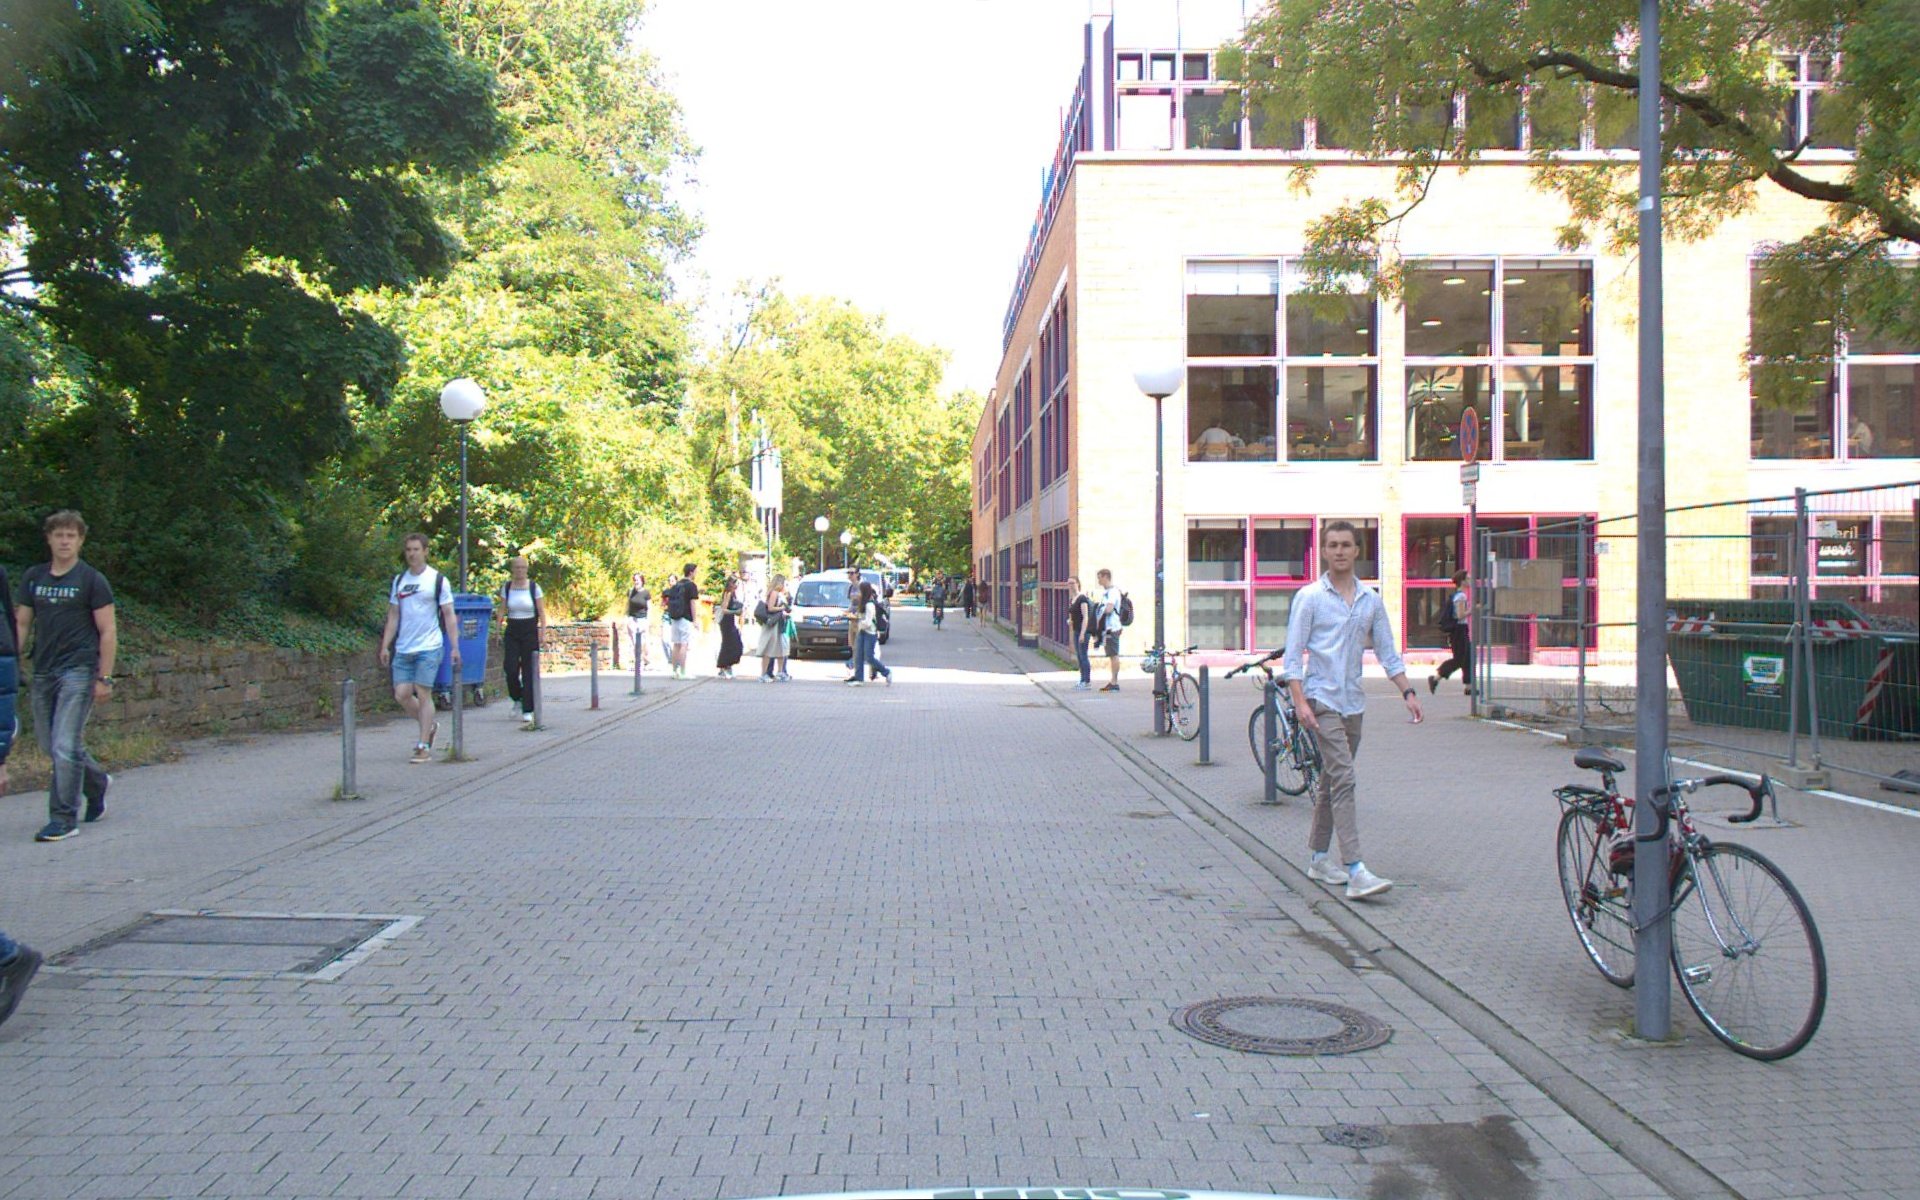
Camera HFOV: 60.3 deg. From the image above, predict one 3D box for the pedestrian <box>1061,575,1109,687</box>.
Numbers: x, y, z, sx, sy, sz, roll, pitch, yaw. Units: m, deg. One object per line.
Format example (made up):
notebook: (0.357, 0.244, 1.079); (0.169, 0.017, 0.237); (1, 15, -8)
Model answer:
pedestrian: (1.938, 0.482, 25.616); (0.682, 1.702, 0.588); (-1, -1, 6)

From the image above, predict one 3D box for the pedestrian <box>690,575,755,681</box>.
pedestrian: (-3.905, 0.454, 27.197); (0.867, 1.701, 0.644); (-2, 1, 6)

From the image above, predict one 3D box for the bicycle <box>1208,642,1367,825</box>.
bicycle: (2.221, 0.871, 11.426); (0.694, 1.112, 1.748); (0, 0, -2)

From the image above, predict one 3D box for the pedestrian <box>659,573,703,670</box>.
pedestrian: (-4.843, 0.375, 28.745); (0.669, 1.649, 0.912); (1, -1, -6)

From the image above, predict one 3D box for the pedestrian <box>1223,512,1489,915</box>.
pedestrian: (1.982, 0.527, 8.382); (0.773, 1.877, 1.109); (1, 0, -26)

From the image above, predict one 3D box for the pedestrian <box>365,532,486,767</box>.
pedestrian: (-4.533, 0.411, 14.094); (0.709, 1.914, 1.081); (1, -1, -4)

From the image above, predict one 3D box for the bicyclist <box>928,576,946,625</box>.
bicyclist: (-0.820, 0.013, 58.288); (0.575, 1.746, 0.665); (0, 0, -5)

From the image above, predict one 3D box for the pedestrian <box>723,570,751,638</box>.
pedestrian: (-6.173, 0.111, 45.884); (0.668, 1.876, 0.783); (1, -1, -1)

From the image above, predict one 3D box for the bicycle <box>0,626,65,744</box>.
bicycle: (-7.755, 0.659, 12.768); (0.412, 0.926, 1.741); (0, -1, 13)

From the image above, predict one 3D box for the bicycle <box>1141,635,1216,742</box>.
bicycle: (2.232, 0.888, 17.058); (0.441, 0.978, 1.739); (-3, 0, -2)

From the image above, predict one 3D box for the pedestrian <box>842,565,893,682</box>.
pedestrian: (-1.512, 0.380, 26.951); (0.809, 1.876, 0.684); (1, -1, -4)

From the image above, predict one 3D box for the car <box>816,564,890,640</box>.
car: (-2.927, 0.027, 45.983); (1.845, 2.008, 5.213); (0, 0, -1)

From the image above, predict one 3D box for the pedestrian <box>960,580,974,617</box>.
pedestrian: (0.319, -0.064, 75.985); (0.574, 1.702, 0.817); (-1, -1, 0)

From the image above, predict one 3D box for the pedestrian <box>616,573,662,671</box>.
pedestrian: (-5.542, 0.377, 28.605); (0.669, 1.649, 0.977); (1, -1, -6)

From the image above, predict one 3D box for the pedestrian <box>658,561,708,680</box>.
pedestrian: (-4.427, 0.325, 26.460); (0.668, 1.876, 0.783); (1, -1, -1)

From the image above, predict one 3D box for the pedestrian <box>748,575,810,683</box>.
pedestrian: (-2.899, 0.456, 26.500); (0.867, 1.702, 0.559); (0, -1, 6)

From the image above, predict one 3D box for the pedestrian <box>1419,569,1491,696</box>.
pedestrian: (6.637, 0.428, 22.199); (0.834, 1.680, 0.588); (0, -1, 6)

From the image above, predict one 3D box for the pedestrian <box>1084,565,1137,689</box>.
pedestrian: (2.260, 0.407, 24.801); (0.750, 1.826, 0.588); (-1, -1, 6)

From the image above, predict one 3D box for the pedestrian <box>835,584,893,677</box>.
pedestrian: (-1.636, 0.517, 28.367); (0.867, 1.569, 0.743); (-1, 0, 6)

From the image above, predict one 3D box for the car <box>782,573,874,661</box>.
car: (-2.826, 0.329, 36.229); (1.754, 1.792, 4.480); (0, 0, -1)

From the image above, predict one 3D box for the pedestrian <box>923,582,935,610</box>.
pedestrian: (-1.945, -0.247, 105.231); (0.710, 1.702, 0.748); (-1, -1, 0)

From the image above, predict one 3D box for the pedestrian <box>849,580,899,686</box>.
pedestrian: (-1.362, 0.521, 26.113); (0.765, 1.649, 0.684); (1, -1, -4)

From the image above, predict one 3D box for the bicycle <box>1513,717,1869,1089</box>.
bicycle: (2.449, 0.954, 5.749); (0.387, 0.952, 1.731); (-2, 0, -2)

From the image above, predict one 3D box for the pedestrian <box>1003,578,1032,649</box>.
pedestrian: (1.437, 0.336, 41.678); (0.668, 1.778, 0.783); (1, -1, -1)

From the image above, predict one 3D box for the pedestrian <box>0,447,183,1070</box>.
pedestrian: (-3.235, 0.475, 5.304); (0.870, 1.890, 1.029); (1, 0, 34)

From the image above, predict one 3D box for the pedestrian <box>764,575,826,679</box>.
pedestrian: (-2.762, 0.451, 27.742); (0.909, 1.702, 0.588); (-1, -1, 6)

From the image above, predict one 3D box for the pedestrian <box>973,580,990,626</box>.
pedestrian: (0.808, 0.127, 62.146); (0.574, 1.702, 0.699); (-1, -1, 0)

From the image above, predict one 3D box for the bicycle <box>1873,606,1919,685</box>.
bicycle: (14.178, 0.667, 23.931); (1.659, 1.129, 0.474); (1, 0, 2)

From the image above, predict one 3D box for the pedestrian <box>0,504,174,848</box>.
pedestrian: (-5.197, 0.426, 9.733); (0.669, 1.905, 1.119); (1, -1, -6)

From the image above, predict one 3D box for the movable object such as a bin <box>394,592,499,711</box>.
movable object such as a bin: (-6.190, 0.601, 20.000); (0.694, 1.359, 1.240); (2, 0, 8)

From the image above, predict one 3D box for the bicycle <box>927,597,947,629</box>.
bicycle: (-0.813, 0.449, 58.219); (0.575, 1.102, 1.906); (0, 0, -5)

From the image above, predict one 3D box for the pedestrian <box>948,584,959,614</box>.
pedestrian: (-0.439, -0.049, 110.688); (0.640, 1.956, 0.817); (-1, -1, 0)

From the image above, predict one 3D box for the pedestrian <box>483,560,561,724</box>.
pedestrian: (-4.830, 0.449, 18.287); (0.669, 1.758, 1.001); (0, 0, -5)
